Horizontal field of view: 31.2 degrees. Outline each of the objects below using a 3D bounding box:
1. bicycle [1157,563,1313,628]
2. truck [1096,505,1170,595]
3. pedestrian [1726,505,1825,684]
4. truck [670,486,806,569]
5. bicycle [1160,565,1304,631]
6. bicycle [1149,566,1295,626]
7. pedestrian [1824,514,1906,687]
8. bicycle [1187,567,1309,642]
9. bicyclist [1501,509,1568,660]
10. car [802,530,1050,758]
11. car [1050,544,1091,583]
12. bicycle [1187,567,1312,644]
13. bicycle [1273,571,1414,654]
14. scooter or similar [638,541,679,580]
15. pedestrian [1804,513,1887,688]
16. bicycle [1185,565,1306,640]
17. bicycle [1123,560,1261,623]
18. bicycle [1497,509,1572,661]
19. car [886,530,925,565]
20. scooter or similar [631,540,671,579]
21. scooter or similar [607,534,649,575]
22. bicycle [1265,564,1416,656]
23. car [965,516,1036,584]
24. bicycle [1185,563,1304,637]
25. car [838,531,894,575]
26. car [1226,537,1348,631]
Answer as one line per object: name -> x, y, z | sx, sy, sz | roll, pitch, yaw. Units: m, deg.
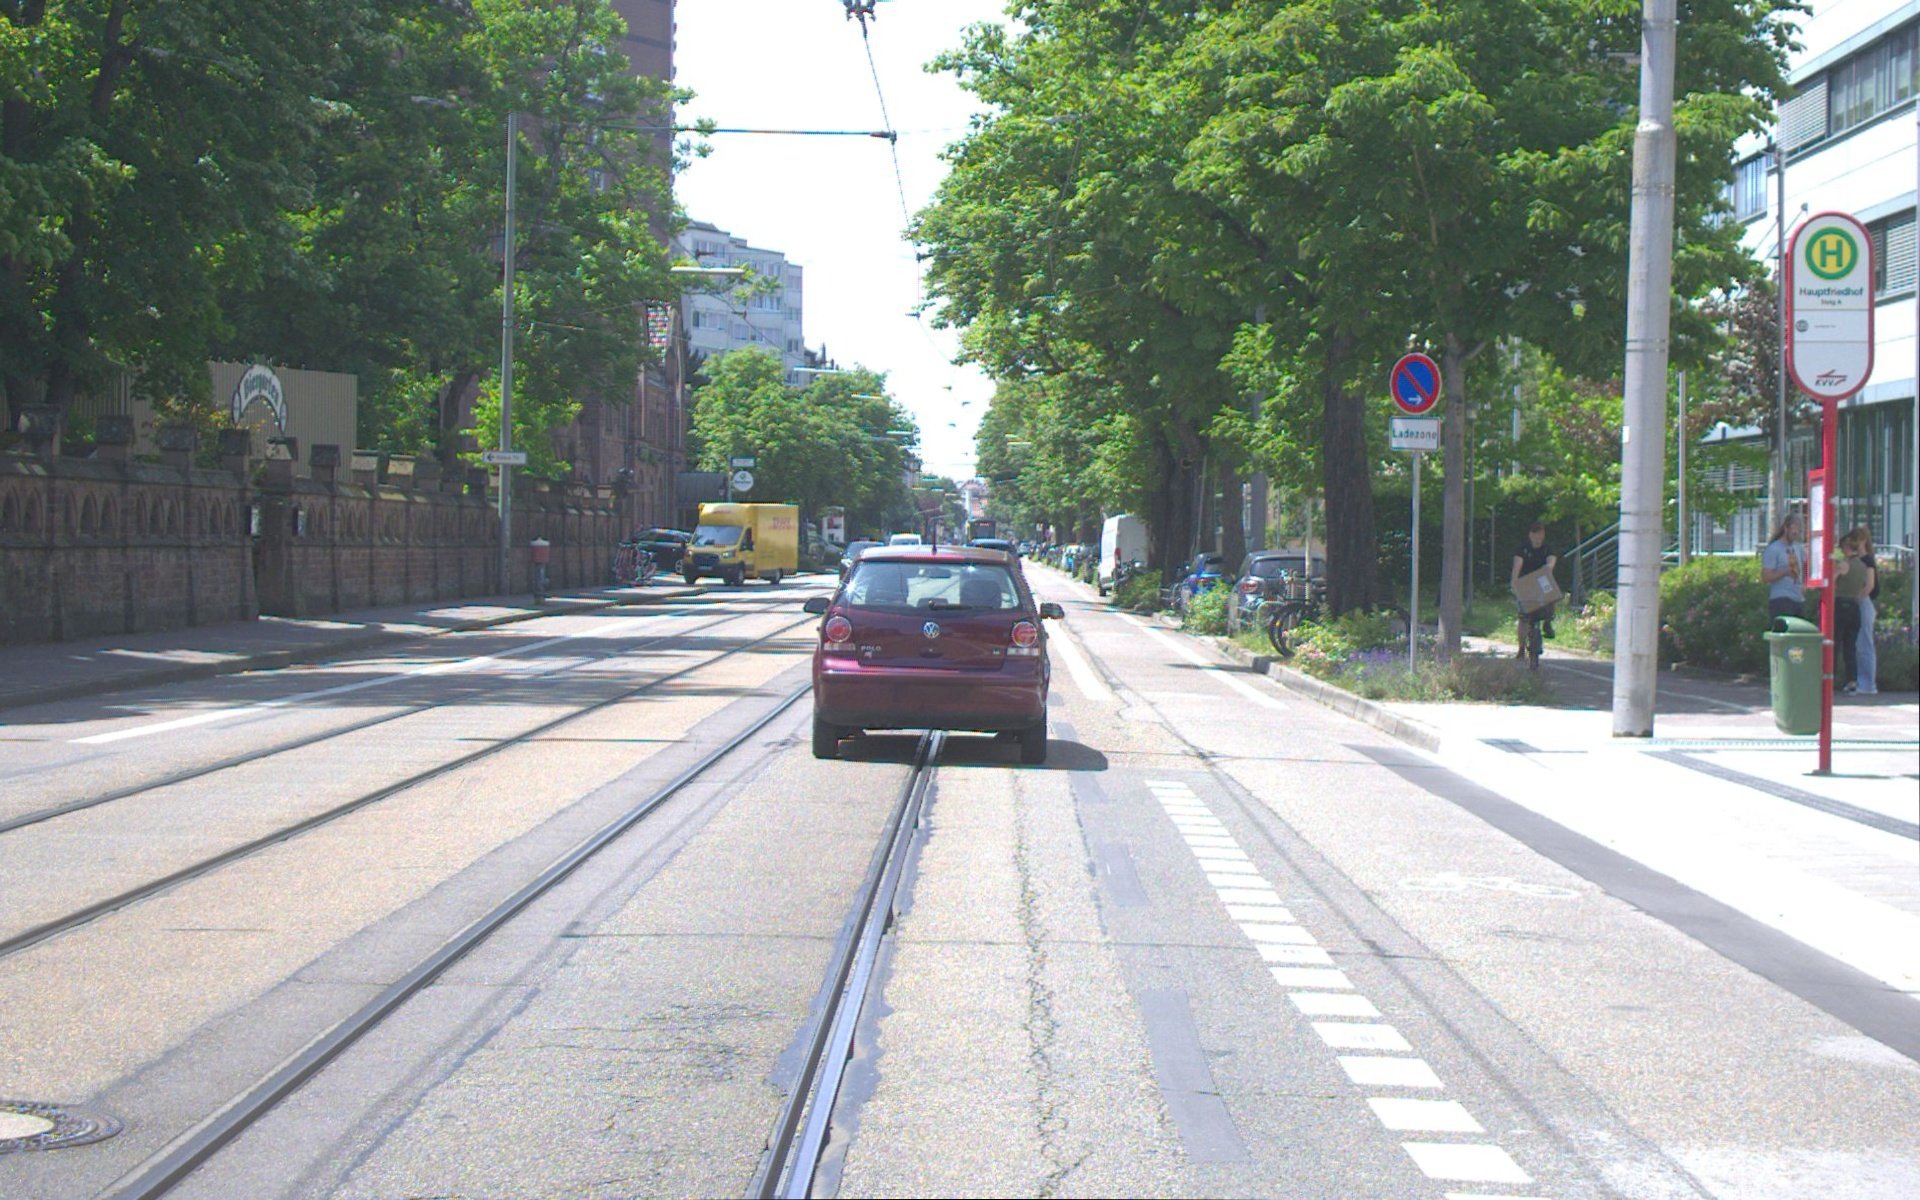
bicycle -> 6.176, -0.101, 77.326 | 3.367, 1.308, 0.782 | 2, 1, -1
truck -> 5.328, -1.566, 106.560 | 1.993, 2.652, 4.875 | 2, 1, 0
pedestrian -> 8.233, -0.063, 34.718 | 0.677, 1.790, 0.675 | -1, 1, -30
truck -> -7.734, -2.512, 120.736 | 2.371, 2.777, 7.314 | 1, 1, 16
bicycle -> 6.000, -0.049, 75.939 | 3.069, 1.308, 0.782 | 2, 1, -1
bicycle -> 5.689, -0.092, 74.720 | 3.069, 1.150, 0.782 | 2, 1, -1
pedestrian -> 9.031, 0.002, 34.309 | 0.537, 1.709, 0.566 | -1, 0, -28
bicycle -> 4.258, 0.062, 50.844 | 1.751, 1.081, 0.548 | 1, 1, 1
bicyclist -> 6.915, -0.190, 41.414 | 0.696, 1.793, 0.887 | 0, 0, 4
car -> -0.226, 0.252, 24.729 | 1.619, 1.481, 4.000 | 1, 1, 0
car -> 4.958, -1.632, 154.078 | 1.674, 1.651, 4.000 | 2, 1, 0
bicycle -> 4.180, 0.074, 49.727 | 1.751, 1.081, 0.548 | 1, 1, 1
bicycle -> 5.111, 0.167, 45.919 | 1.825, 1.081, 0.718 | 1, 0, 4
scooter or similar -> -9.132, -1.200, 104.060 | 1.088, 1.151, 0.527 | 2, 1, -20
pedestrian -> 8.706, 0.001, 33.796 | 0.537, 1.709, 0.566 | -1, 0, -28
bicycle -> 4.263, 0.030, 51.473 | 1.751, 1.081, 0.548 | 1, 1, 1
bicycle -> 5.344, -0.198, 79.249 | 3.069, 1.308, 0.782 | 2, 1, -1
bicycle -> 6.903, -0.182, 41.359 | 0.690, 1.779, 1.810 | 0, 0, 4
car -> -2.987, -2.895, 188.058 | 1.993, 1.848, 4.682 | 1, 1, 0
scooter or similar -> -9.418, -1.233, 104.723 | 1.088, 1.151, 0.527 | 2, 1, -20
scooter or similar -> -9.742, -1.329, 100.812 | 1.088, 1.151, 0.527 | 2, 1, -20
bicycle -> 4.956, 0.125, 44.824 | 1.883, 1.178, 0.694 | 0, 0, 1
car -> 1.232, -1.580, 107.011 | 1.993, 2.007, 4.000 | 2, 1, -1
bicycle -> 4.304, 0.000, 52.105 | 1.751, 1.081, 0.548 | 1, 1, 1
car -> -3.276, -1.662, 120.745 | 1.770, 1.510, 4.000 | 1, 1, 1
car -> 5.394, -0.292, 56.995 | 1.688, 1.498, 3.627 | -1, 1, 1
